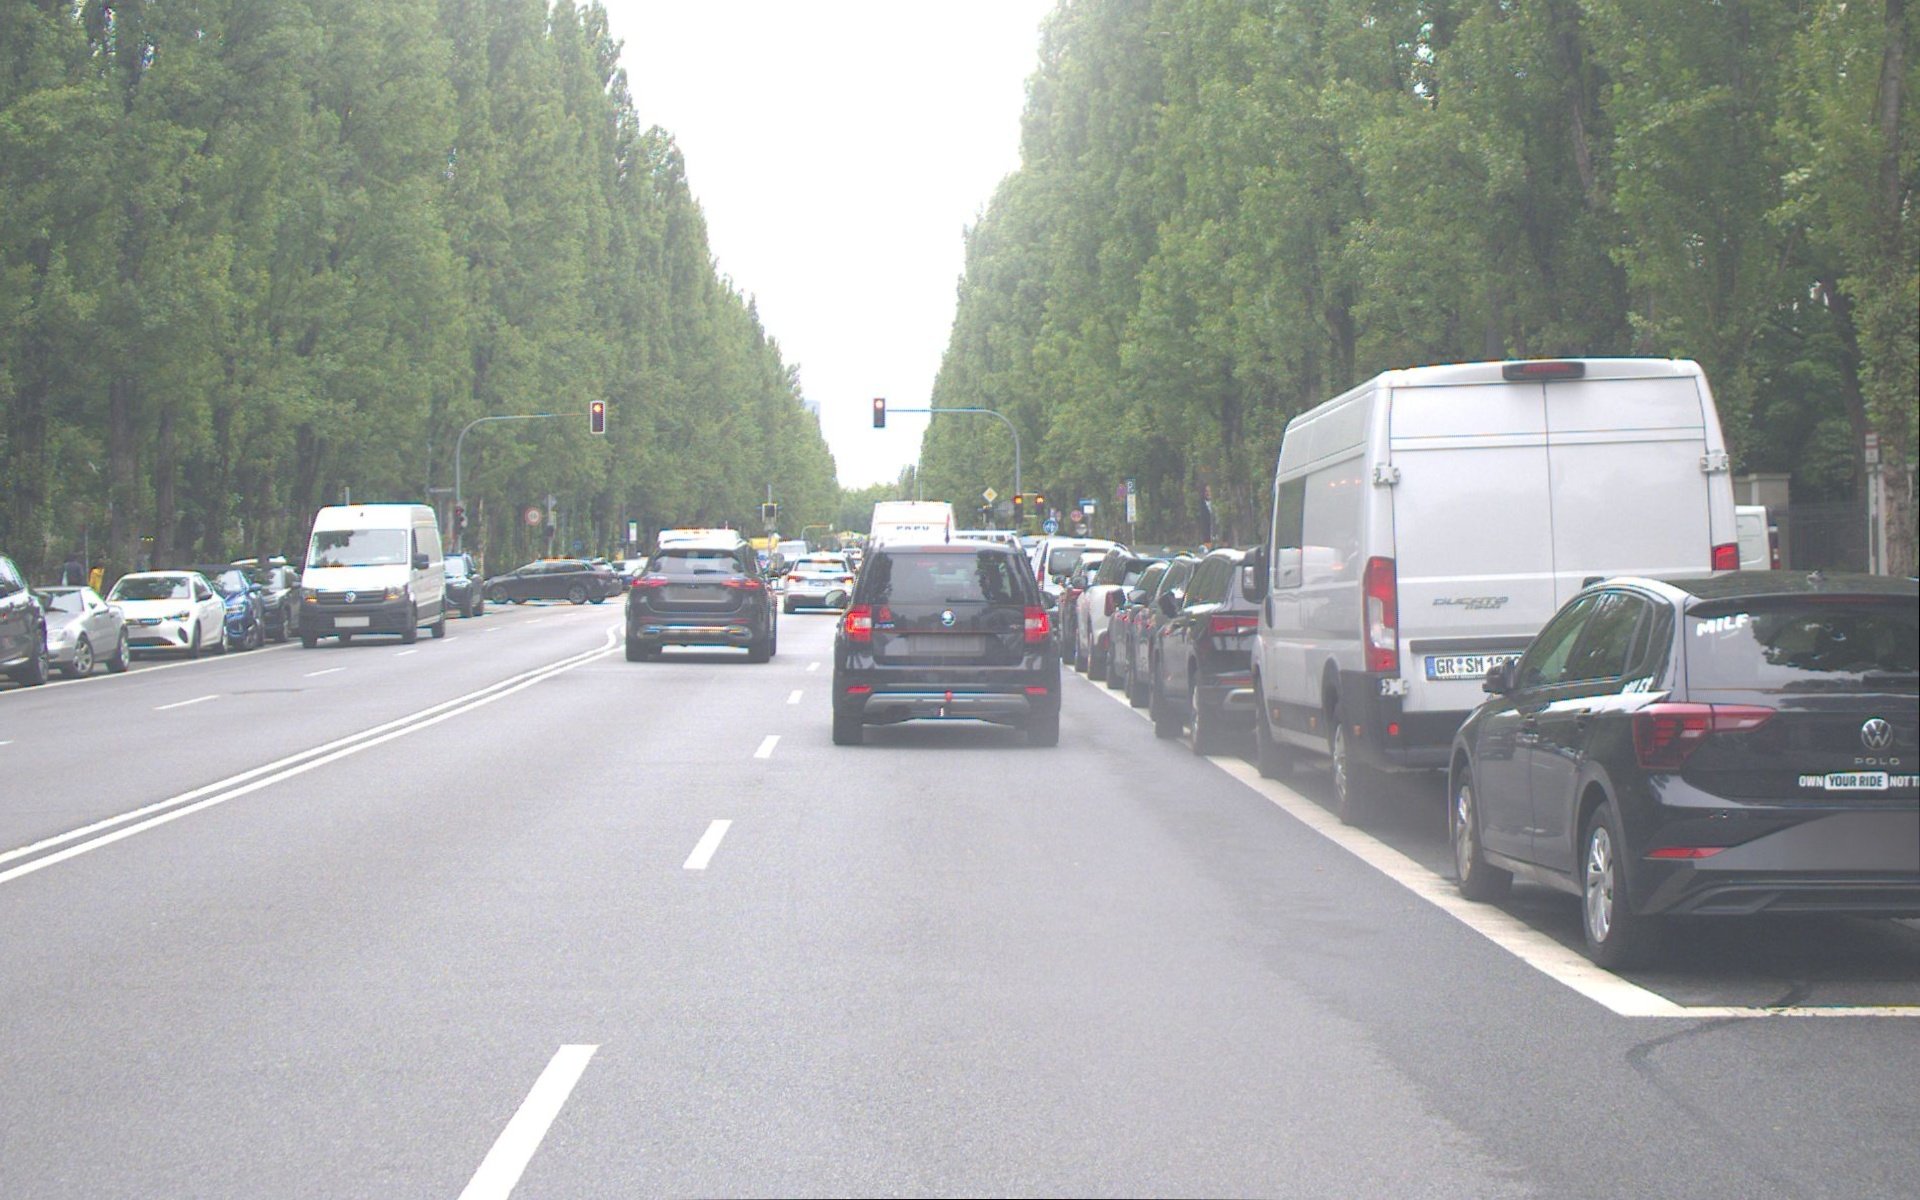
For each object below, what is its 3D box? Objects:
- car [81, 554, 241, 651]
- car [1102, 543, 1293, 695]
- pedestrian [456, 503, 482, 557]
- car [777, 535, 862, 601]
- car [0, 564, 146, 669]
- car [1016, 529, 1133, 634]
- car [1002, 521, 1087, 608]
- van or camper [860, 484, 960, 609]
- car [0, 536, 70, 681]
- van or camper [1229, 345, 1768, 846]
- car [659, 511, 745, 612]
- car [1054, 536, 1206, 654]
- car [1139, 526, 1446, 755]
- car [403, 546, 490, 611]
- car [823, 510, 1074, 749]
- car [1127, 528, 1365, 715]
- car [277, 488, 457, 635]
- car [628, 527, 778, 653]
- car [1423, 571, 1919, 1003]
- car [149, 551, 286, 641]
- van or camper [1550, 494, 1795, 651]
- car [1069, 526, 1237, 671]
[{"bbox_3d":[-13.278,0.013,57.343,1.770,1.447,4.234,-3,1,-2],"label":"car"},{"bbox_3d":[2.527,0.162,37.443,1.702,1.514,4.295,0,1,-1],"label":"car"},{"bbox_3d":[-14.296,-2.039,100.167,0.660,1.572,0.530,-1,1,0],"label":"pedestrian"},{"bbox_3d":[-3.384,-0.797,83.519,1.993,1.555,4.000,-1,1,-2],"label":"car"},{"bbox_3d":[-12.923,0.221,48.641,1.826,1.329,4.234,-3,1,-1],"label":"car"},{"bbox_3d":[2.113,-0.377,64.571,1.851,1.875,4.169,-1,1,-3],"label":"car"},{"bbox_3d":[1.877,-0.821,77.113,1.735,1.888,4.025,0,1,-1],"label":"car"},{"bbox_3d":[-1.080,-1.131,72.345,1.975,2.539,4.025,-1,1,-2],"label":"van or camper"},{"bbox_3d":[-12.722,0.121,43.110,1.940,1.761,4.896,-3,1,-2],"label":"car"},{"bbox_3d":[2.988,-0.082,20.654,2.138,2.531,6.418,0,1,-1],"label":"van or camper"},{"bbox_3d":[-5.489,-0.818,73.455,1.781,2.104,4.025,0,1,-4],"label":"car"},{"bbox_3d":[2.331,-0.113,48.064,1.880,1.535,4.464,0,1,0],"label":"car"},{"bbox_3d":[2.543,0.247,27.300,1.784,1.643,4.418,-1,1,-3],"label":"car"},{"bbox_3d":[-13.983,-0.614,93.837,1.849,1.648,4.696,-3,1,-3],"label":"car"},{"bbox_3d":[-0.111,0.187,28.016,1.855,1.764,4.000,2,1,-1],"label":"car"},{"bbox_3d":[2.616,0.138,32.414,1.784,1.612,4.638,0,1,-1],"label":"car"},{"bbox_3d":[-10.818,-0.731,63.233,2.227,2.475,6.759,-2,1,-2],"label":"car"},{"bbox_3d":[-3.463,-0.176,46.957,1.781,1.614,4.025,-1,1,-1],"label":"car"},{"bbox_3d":[3.026,0.616,13.668,1.676,1.415,4.001,0,1,-2],"label":"car"},{"bbox_3d":[-13.254,-0.097,61.534,1.709,1.446,3.586,-3,1,-2],"label":"car"},{"bbox_3d":[9.326,-0.401,45.450,2.076,1.927,5.369,1,1,0],"label":"van or camper"},{"bbox_3d":[2.323,-0.072,42.370,1.742,1.670,4.580,0,1,-1],"label":"car"}]
